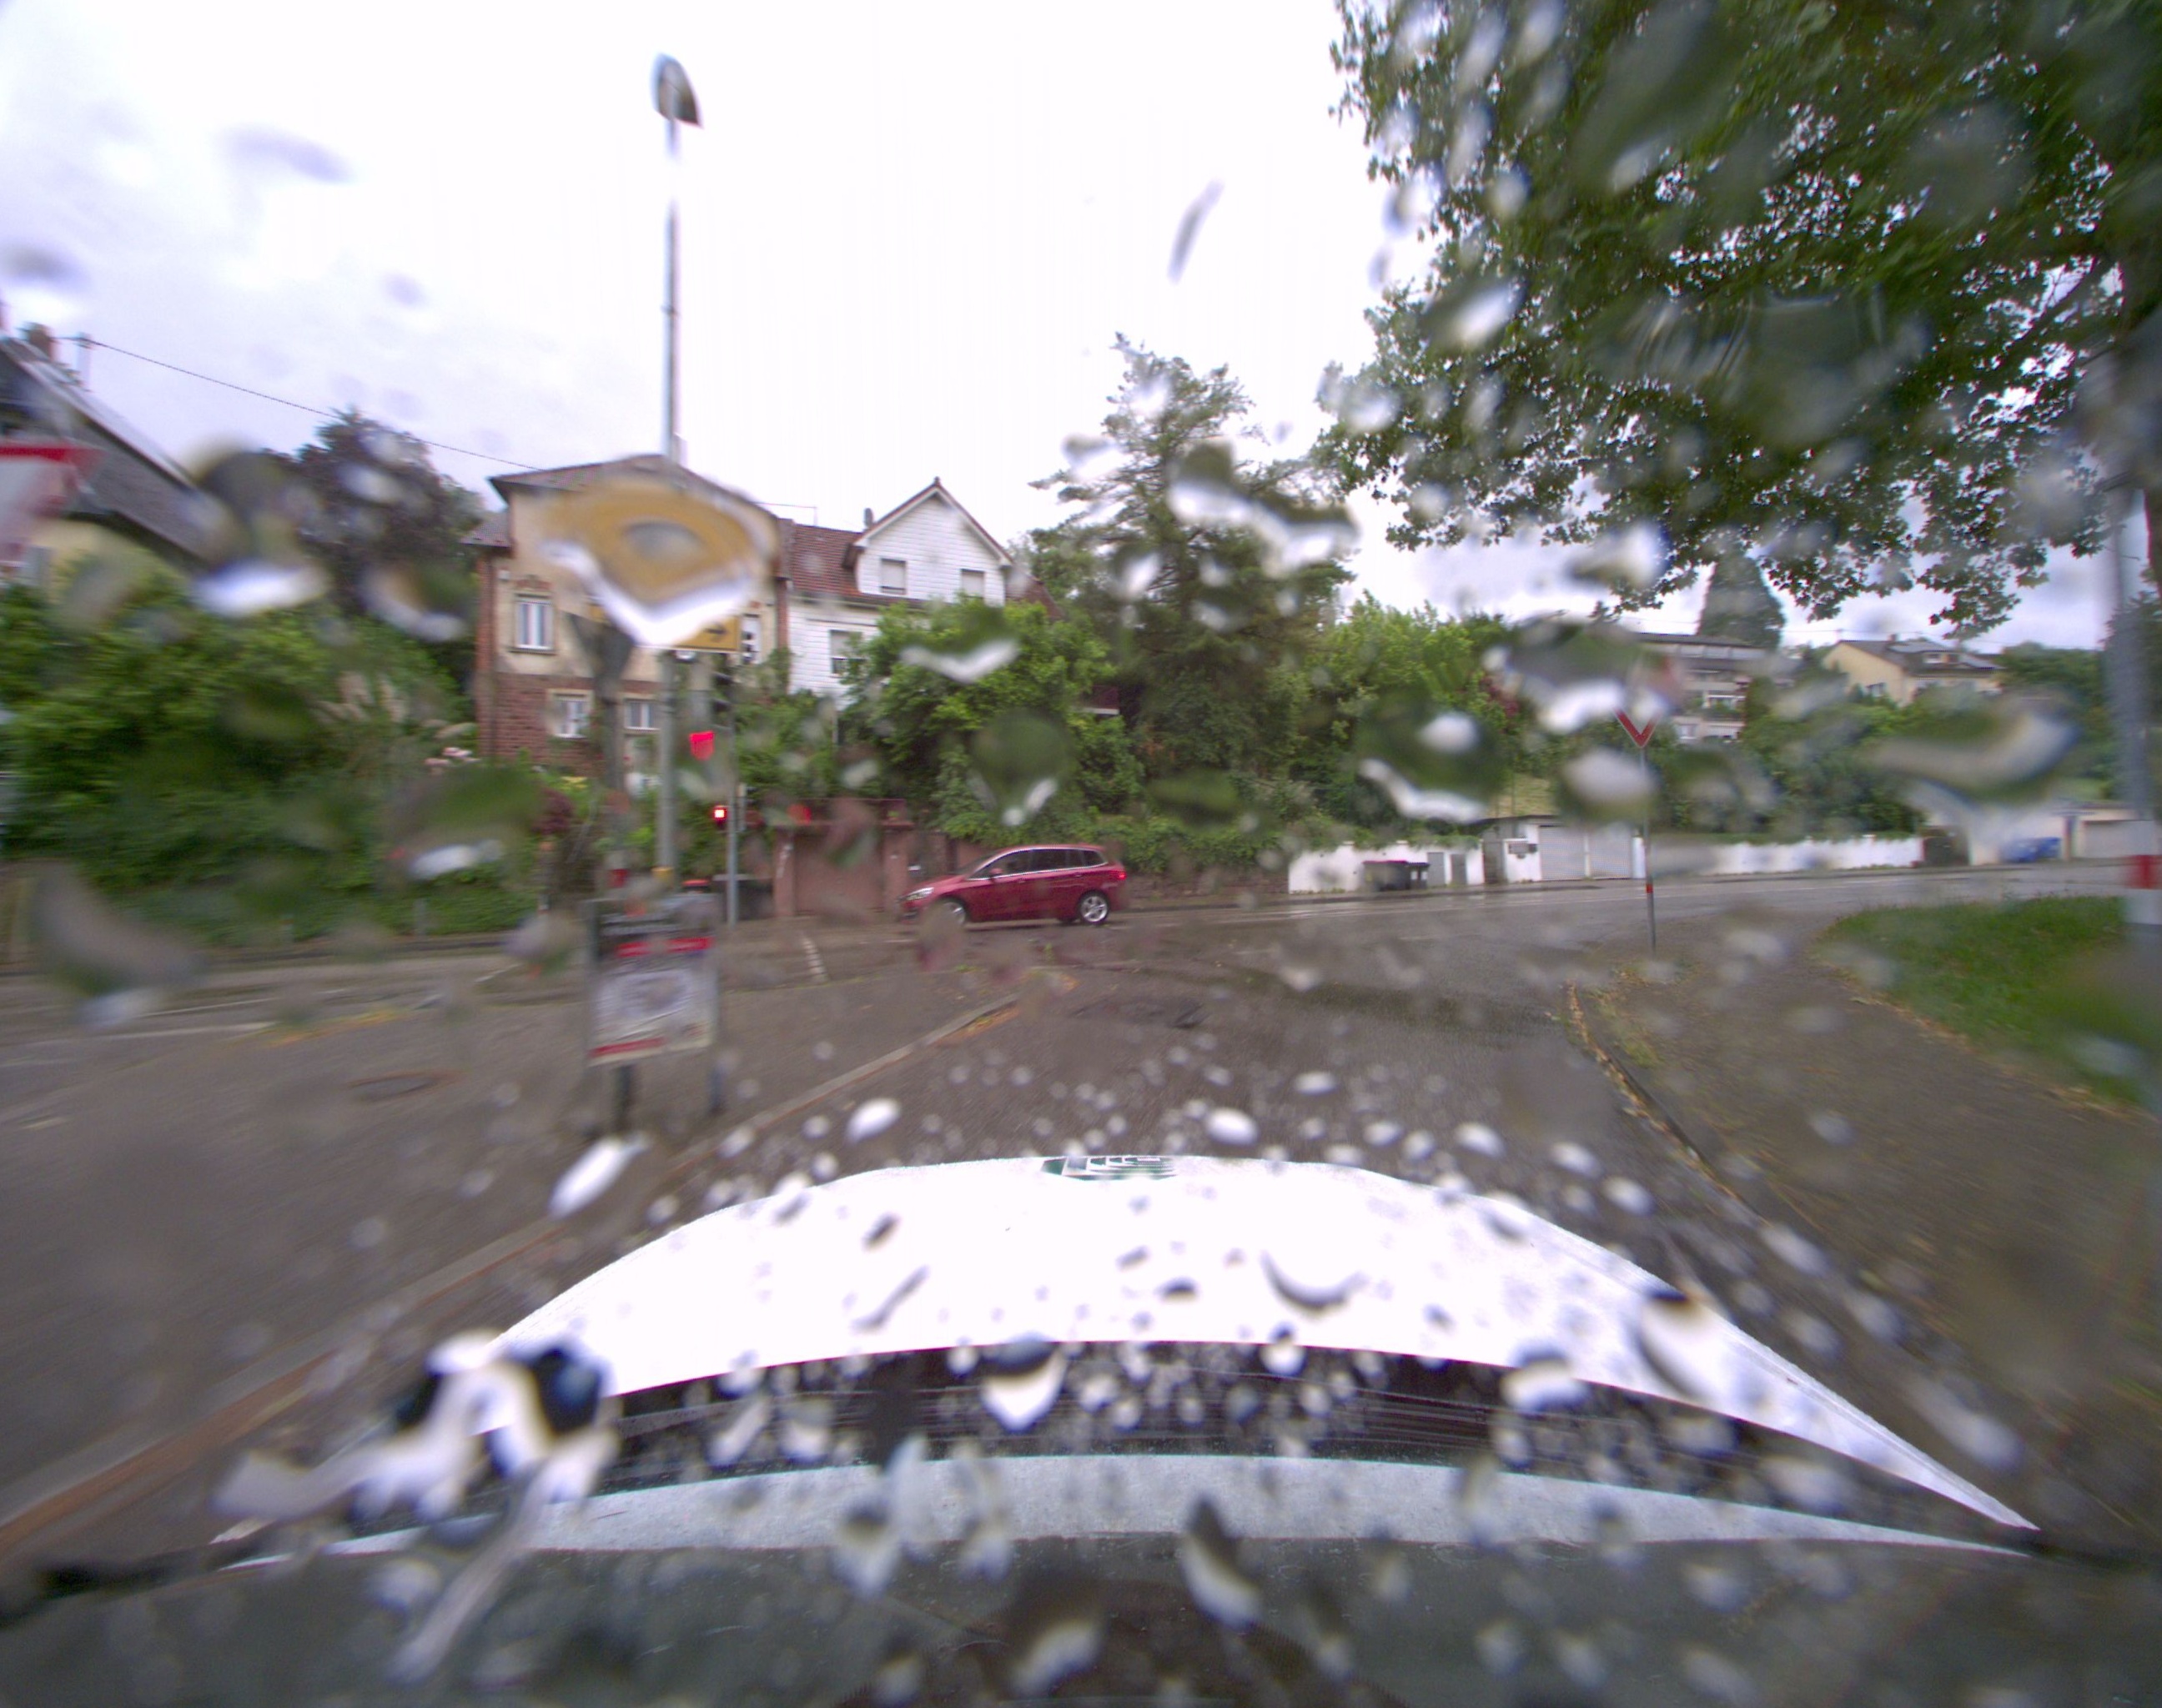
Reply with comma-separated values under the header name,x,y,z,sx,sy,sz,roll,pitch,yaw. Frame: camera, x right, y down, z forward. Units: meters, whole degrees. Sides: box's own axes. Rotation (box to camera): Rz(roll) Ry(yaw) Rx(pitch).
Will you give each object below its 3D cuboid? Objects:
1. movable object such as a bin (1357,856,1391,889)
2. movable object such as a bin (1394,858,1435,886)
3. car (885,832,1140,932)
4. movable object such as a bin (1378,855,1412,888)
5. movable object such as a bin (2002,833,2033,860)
name,x,y,z,sx,sy,sz,roll,pitch,yaw
movable object such as a bin,9.813,0.612,27.289,0.754,1.060,0.684,-2,-1,-21
movable object such as a bin,11.495,0.620,28.073,0.955,0.916,0.846,-2,-1,-22
car,-1.337,0.492,15.806,4.585,1.601,1.762,-2,-1,-21
movable object such as a bin,10.594,0.589,27.485,0.794,1.060,0.632,-2,-1,-21
movable object such as a bin,49.433,-0.387,42.998,0.832,1.336,0.710,-2,-1,-12
